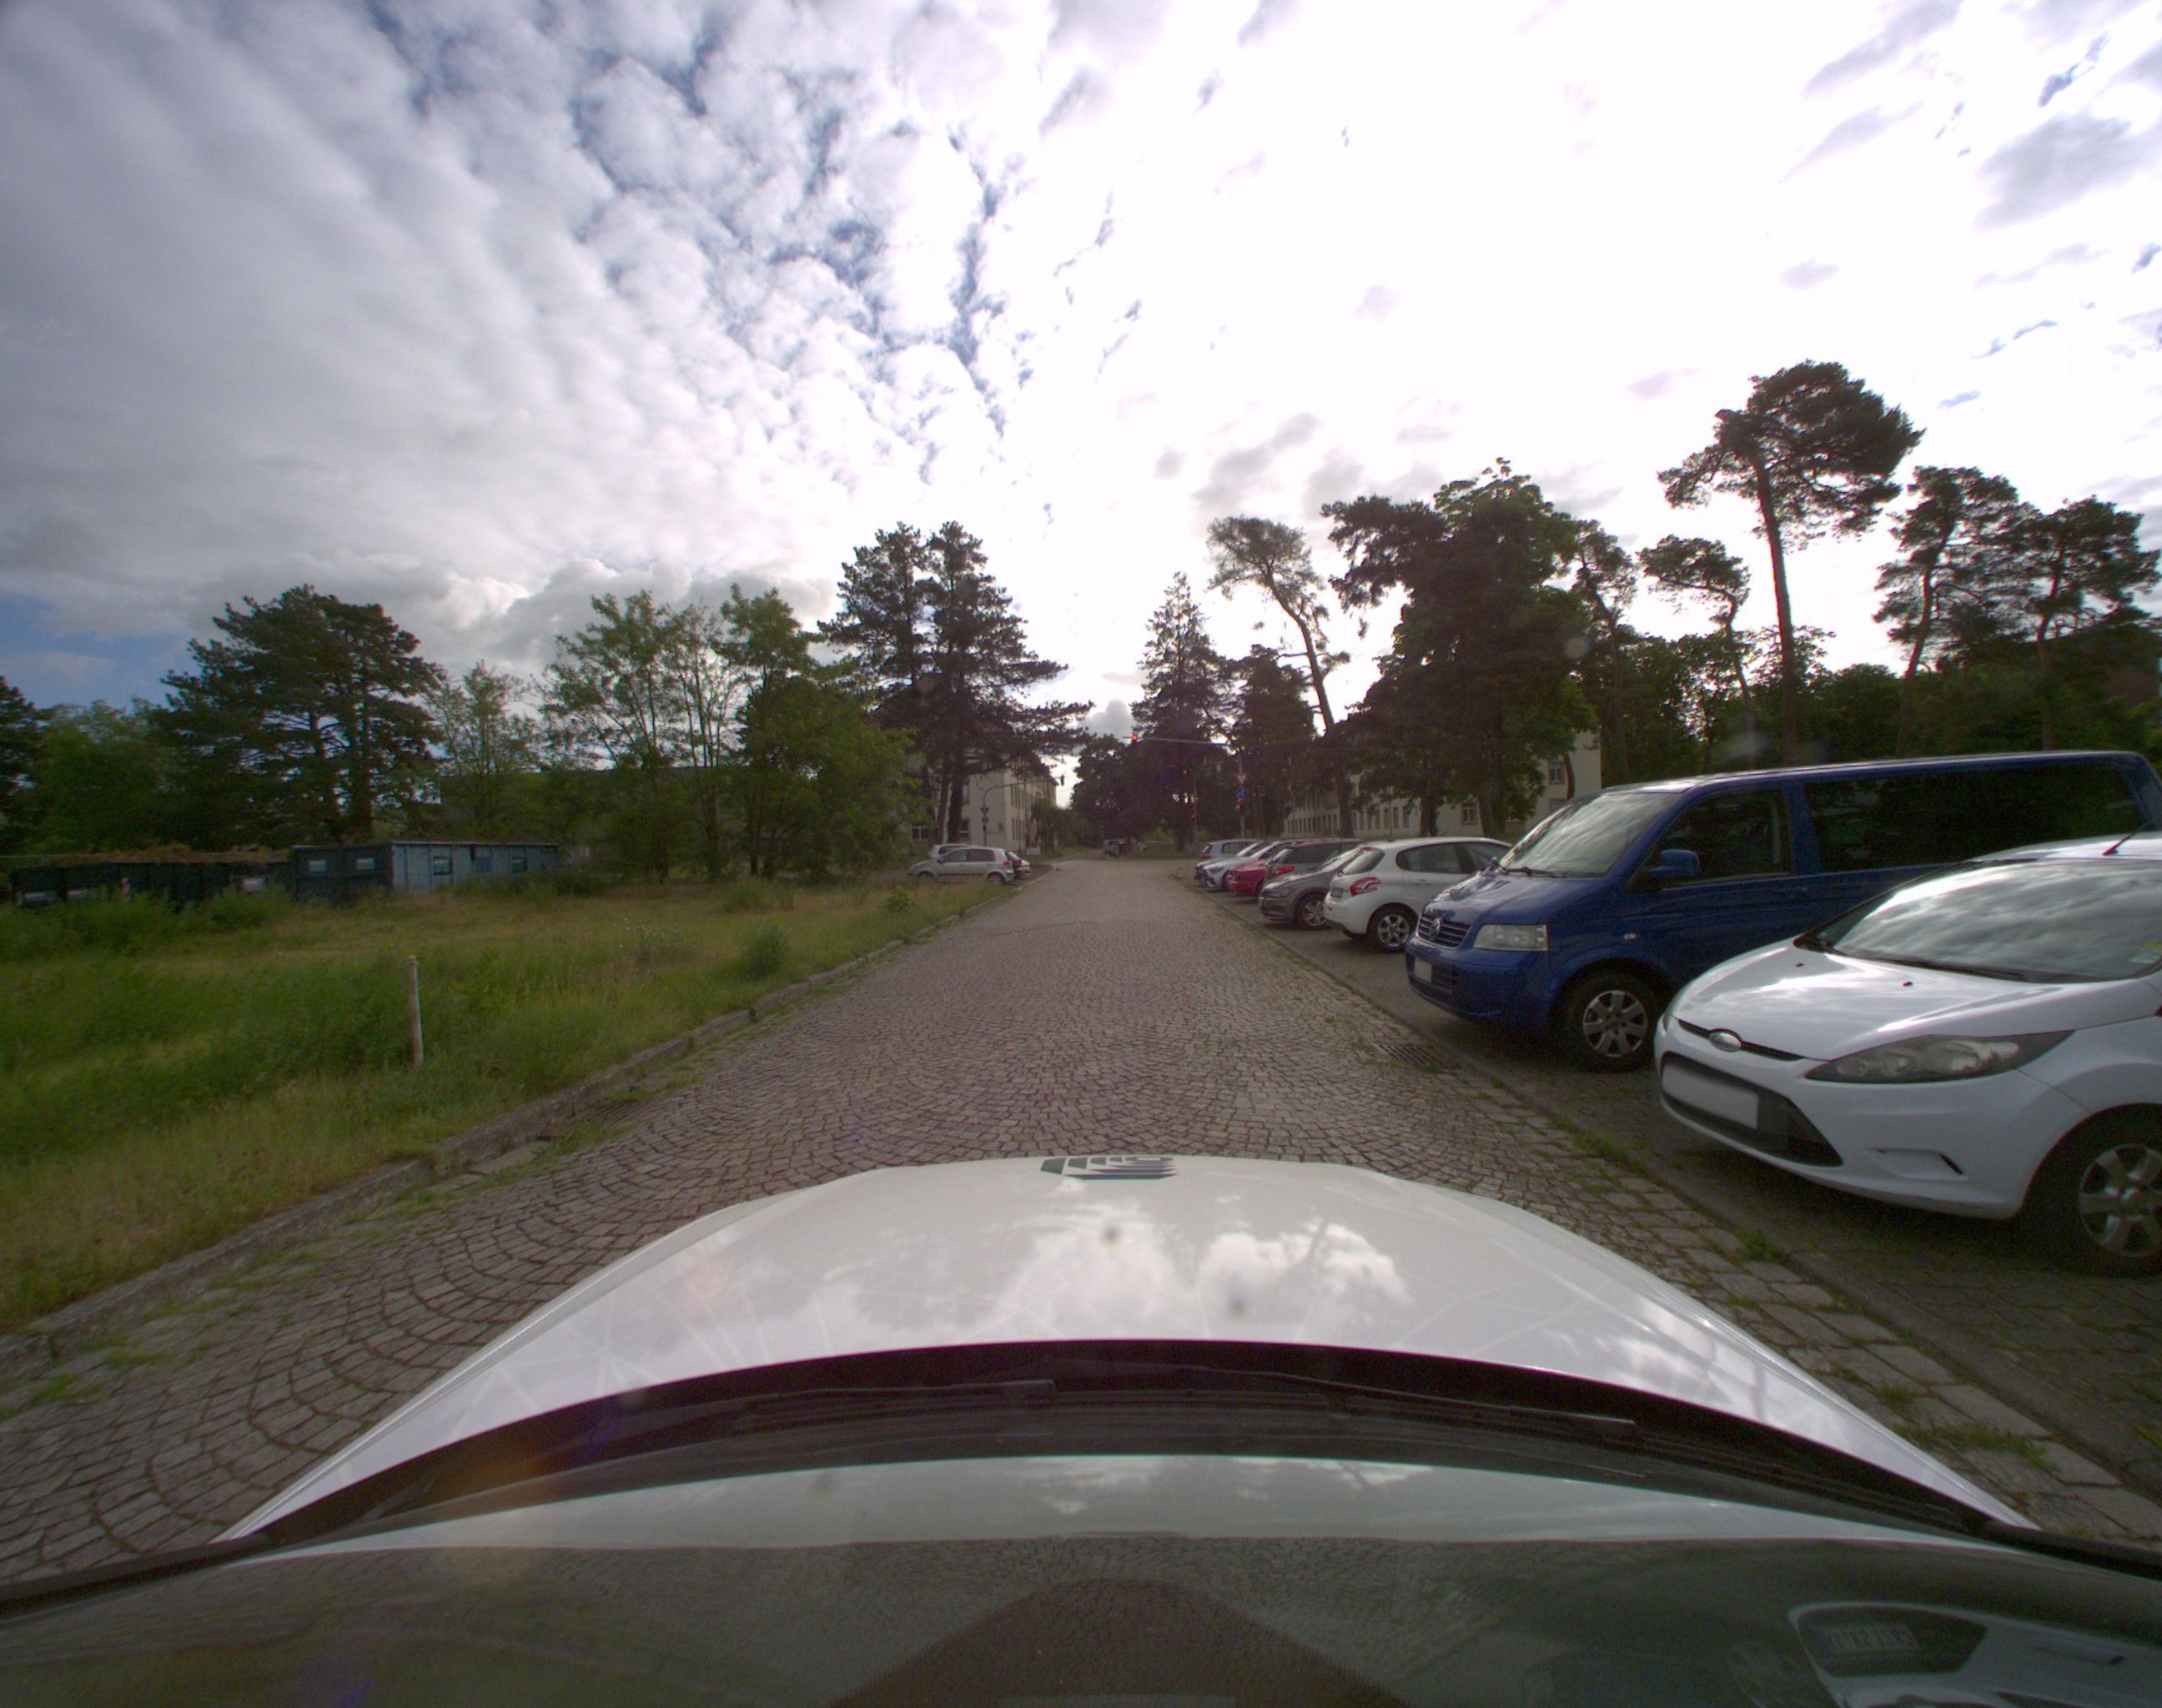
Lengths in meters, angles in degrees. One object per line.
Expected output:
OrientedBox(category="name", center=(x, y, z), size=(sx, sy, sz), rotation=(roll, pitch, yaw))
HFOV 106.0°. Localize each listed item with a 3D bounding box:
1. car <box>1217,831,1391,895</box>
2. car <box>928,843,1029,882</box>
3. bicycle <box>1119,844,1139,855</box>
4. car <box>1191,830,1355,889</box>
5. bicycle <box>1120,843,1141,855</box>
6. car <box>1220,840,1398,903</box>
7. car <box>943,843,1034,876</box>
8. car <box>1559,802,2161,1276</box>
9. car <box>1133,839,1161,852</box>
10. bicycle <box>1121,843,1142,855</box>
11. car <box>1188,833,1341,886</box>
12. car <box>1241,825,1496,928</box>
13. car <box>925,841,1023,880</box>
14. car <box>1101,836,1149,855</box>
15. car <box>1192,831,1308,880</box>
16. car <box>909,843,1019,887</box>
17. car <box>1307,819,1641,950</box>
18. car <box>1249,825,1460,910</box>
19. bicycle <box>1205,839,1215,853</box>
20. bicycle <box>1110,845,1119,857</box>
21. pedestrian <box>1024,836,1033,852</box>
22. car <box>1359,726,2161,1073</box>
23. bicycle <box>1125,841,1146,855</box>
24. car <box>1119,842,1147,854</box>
OrientedBox(category="car", center=(6.028, 0.219, 22.375), size=(4.245, 1.416, 1.872), rotation=(-4, 1, 2))
OrientedBox(category="car", center=(-3.949, 0.322, 31.903), size=(3.735, 1.428, 1.582), rotation=(1, 1, -1))
OrientedBox(category="bicycle", center=(4.770, -0.470, 80.847), size=(1.966, 1.069, 0.583), rotation=(-2, 1, -28))
OrientedBox(category="car", center=(5.753, 0.145, 24.654), size=(4.417, 1.416, 1.867), rotation=(-4, 1, -7))
OrientedBox(category="bicycle", center=(4.812, -0.476, 79.360), size=(1.952, 1.117, 0.587), rotation=(-2, 1, -5))
OrientedBox(category="car", center=(5.479, 0.393, 19.913), size=(3.849, 1.236, 1.758), rotation=(-4, 1, 1))
OrientedBox(category="car", center=(-4.191, 0.255, 37.238), size=(3.933, 1.421, 1.651), rotation=(1, 1, 1))
OrientedBox(category="car", center=(4.625, 0.551, 3.640), size=(3.849, 1.472, 1.842), rotation=(-4, 1, 1))
OrientedBox(category="car", center=(8.131, -1.032, 100.607), size=(3.222, 1.416, 1.725), rotation=(-2, 1, -1))
OrientedBox(category="bicycle", center=(4.847, -0.493, 78.725), size=(1.952, 1.132, 0.587), rotation=(-2, 1, -5))
OrientedBox(category="car", center=(6.088, 0.163, 27.334), size=(4.666, 1.416, 1.871), rotation=(-4, 1, 0))
OrientedBox(category="car", center=(4.962, 0.359, 14.447), size=(3.849, 1.472, 1.758), rotation=(-4, 1, 1))
OrientedBox(category="car", center=(-4.500, 0.257, 34.702), size=(3.936, 1.563, 1.650), rotation=(1, 1, -1))
OrientedBox(category="car", center=(5.240, -1.007, 96.814), size=(5.355, 1.924, 2.020), rotation=(-3, 1, -7))
OrientedBox(category="car", center=(6.114, 0.046, 29.786), size=(3.910, 1.477, 1.644), rotation=(-4, 1, 3))
OrientedBox(category="car", center=(-4.159, 0.366, 29.309), size=(3.692, 1.479, 1.582), rotation=(1, 1, -1))
OrientedBox(category="car", center=(5.394, 0.387, 11.566), size=(3.849, 1.472, 1.758), rotation=(-4, 1, 1))
OrientedBox(category="car", center=(5.683, 0.264, 17.269), size=(3.849, 1.472, 1.758), rotation=(-4, 1, 1))
OrientedBox(category="bicycle", center=(10.492, -0.642, 66.418), size=(0.584, 1.106, 1.963), rotation=(-2, 1, 2))
OrientedBox(category="bicycle", center=(3.112, -0.298, 75.582), size=(0.602, 1.132, 1.959), rotation=(-2, 1, -3))
OrientedBox(category="pedestrian", center=(-6.125, -1.140, 94.824), size=(0.778, 1.837, 0.734), rotation=(-2, 1, -29))
OrientedBox(category="car", center=(4.893, 0.271, 6.224), size=(4.791, 1.945, 2.004), rotation=(-4, 1, 1))
OrientedBox(category="bicycle", center=(5.383, -0.585, 80.173), size=(1.952, 1.384, 0.587), rotation=(-2, 1, -5))
OrientedBox(category="car", center=(5.989, -0.711, 93.425), size=(2.999, 1.268, 1.533), rotation=(-2, 1, -4))
